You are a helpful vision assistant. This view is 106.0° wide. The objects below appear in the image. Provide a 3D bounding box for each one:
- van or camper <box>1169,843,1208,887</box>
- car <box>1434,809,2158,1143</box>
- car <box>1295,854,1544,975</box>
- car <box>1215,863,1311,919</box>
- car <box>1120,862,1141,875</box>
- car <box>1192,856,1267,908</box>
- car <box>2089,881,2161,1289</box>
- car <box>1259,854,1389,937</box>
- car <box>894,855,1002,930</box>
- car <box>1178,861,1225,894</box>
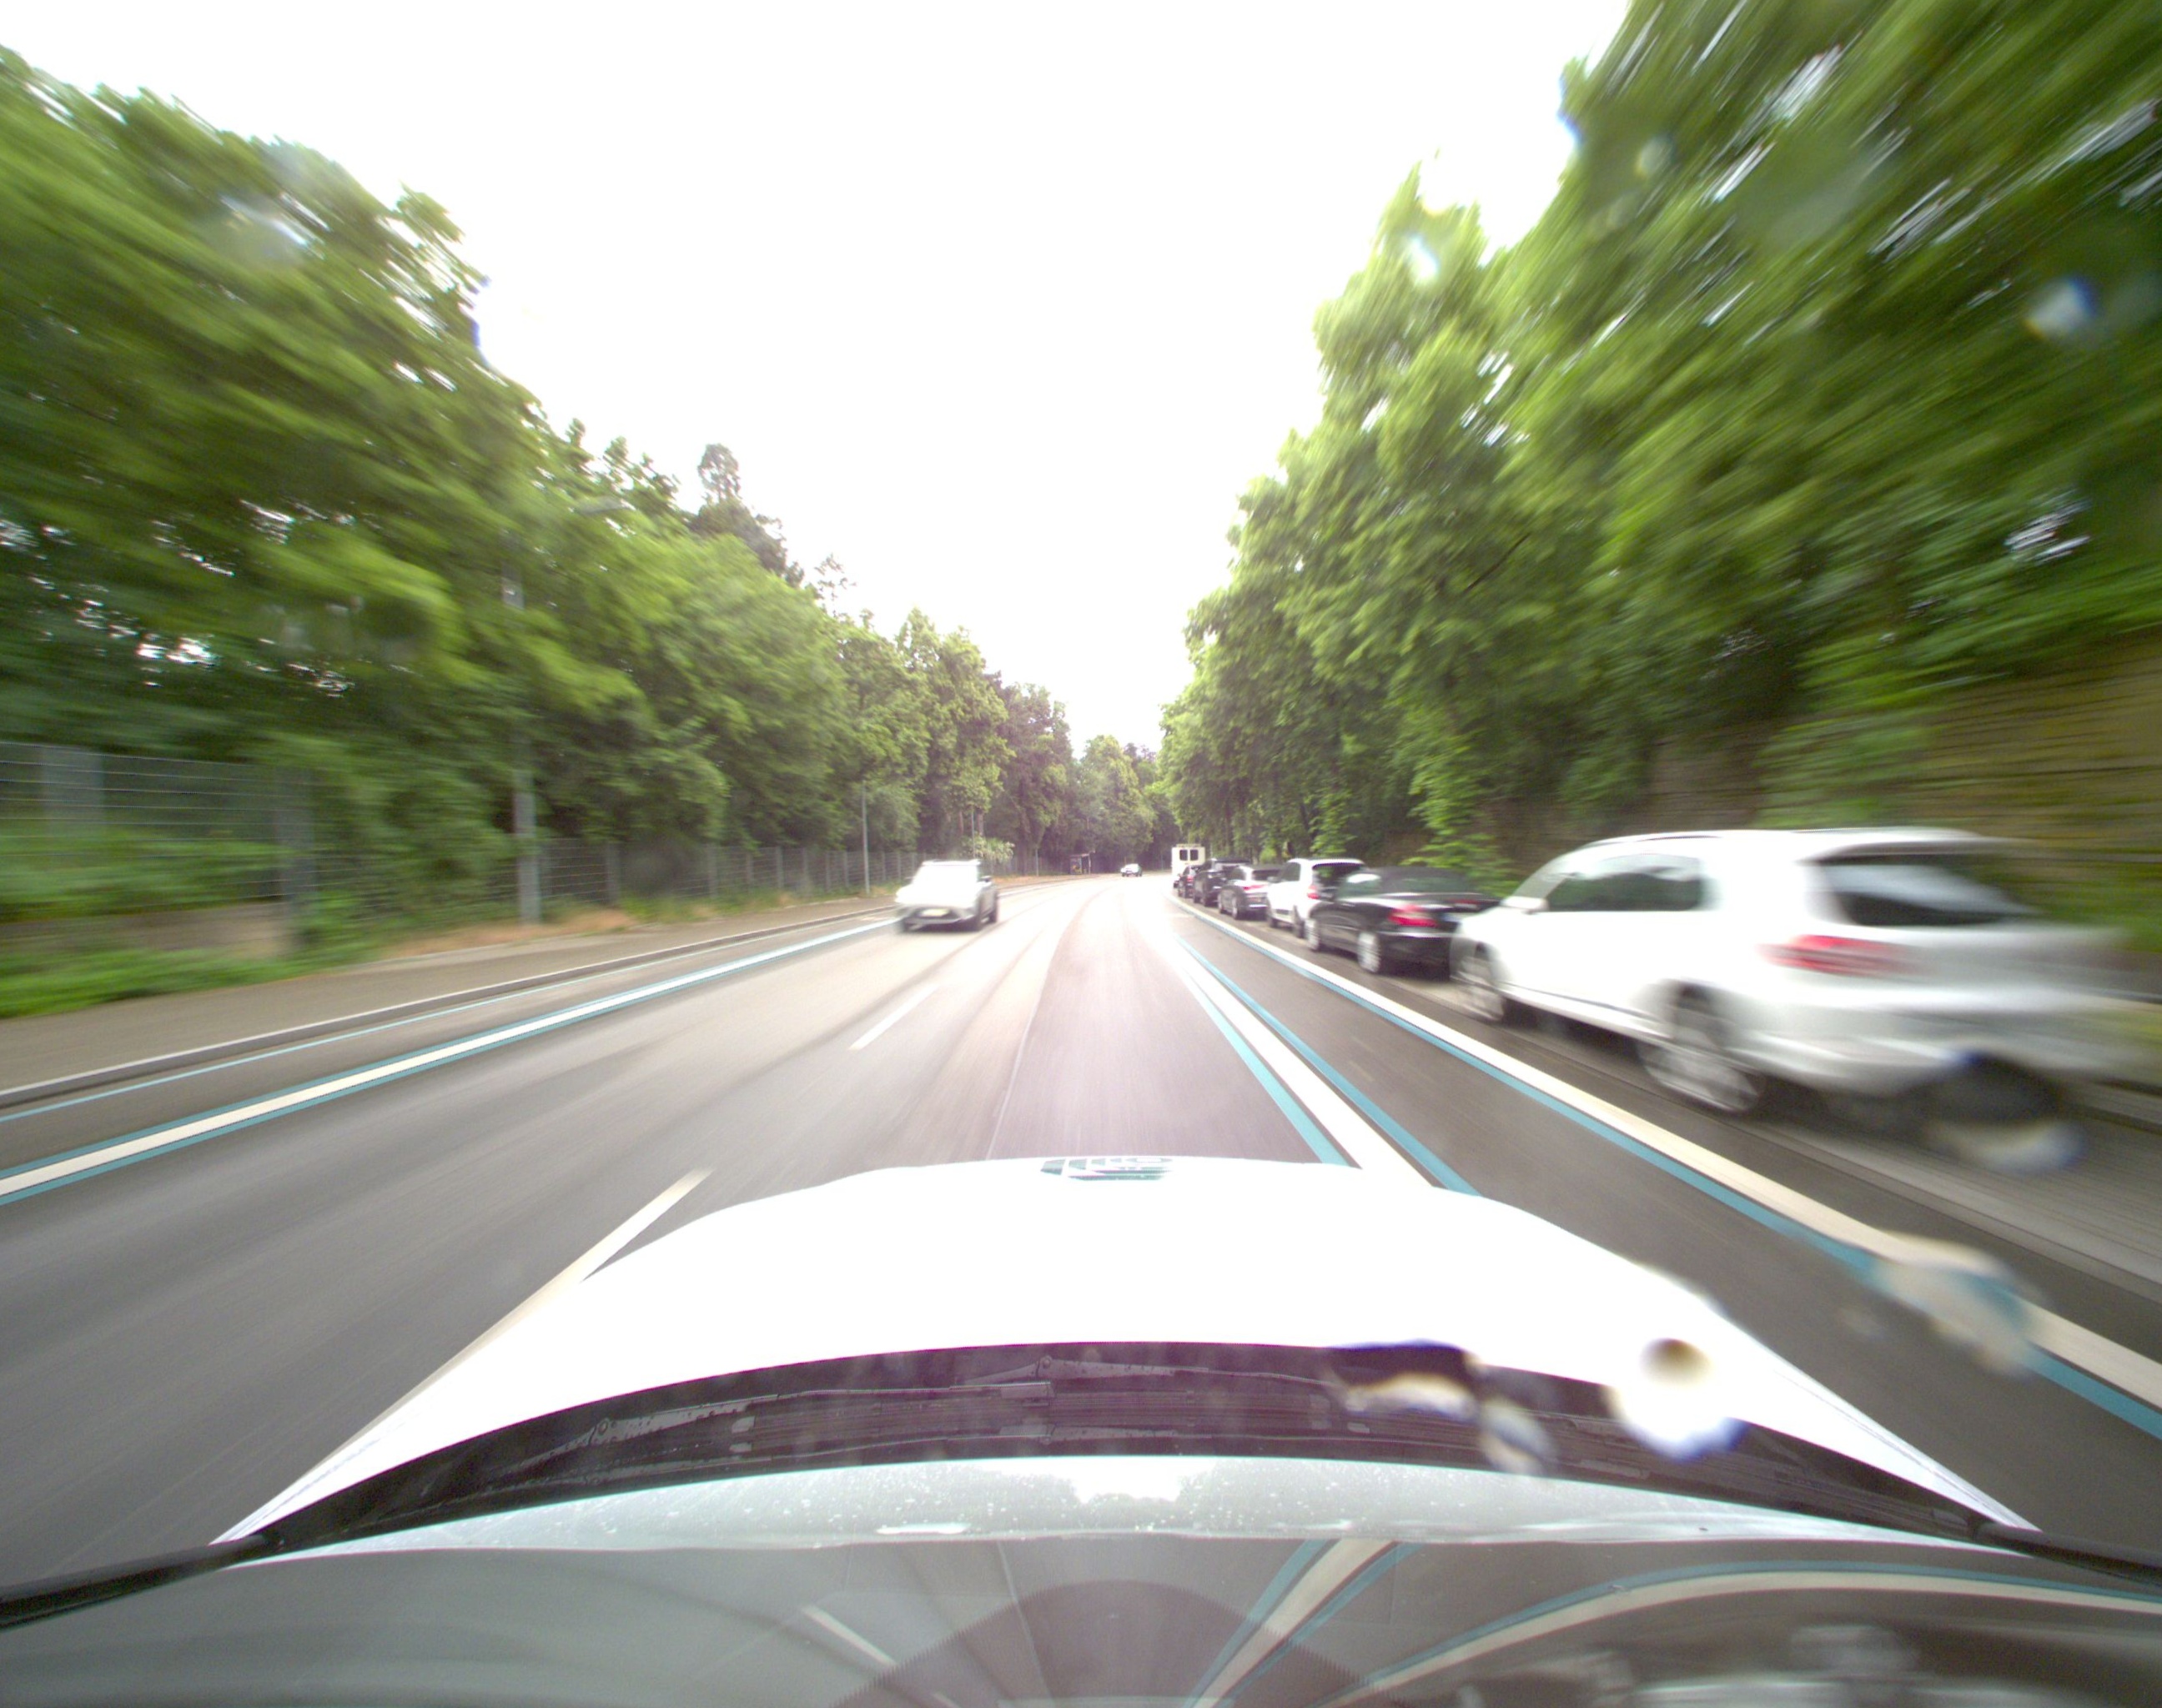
[{"bbox_3d":[7.015,0.683,52.963,2.304,2.665,6.396,-1,-1,8],"label":"van or camper"},{"bbox_3d":[4.482,0.624,6.179,1.708,1.619,4.259,-1,-1,-1],"label":"car"},{"bbox_3d":[4.549,0.786,11.795,1.712,1.376,4.557,-1,-2,0],"label":"car"},{"bbox_3d":[4.757,0.936,21.923,1.768,1.348,4.469,-1,-1,3],"label":"car"},{"bbox_3d":[5.682,1.630,93.785,1.748,1.437,4.164,-1,-1,12],"label":"car"},{"bbox_3d":[5.135,0.990,28.738,1.985,1.645,4.350,-1,-2,3],"label":"car"},{"bbox_3d":[4.521,0.739,0.746,1.667,1.393,4.449,-1,-1,0],"label":"car"},{"bbox_3d":[4.930,0.802,17.018,1.655,1.535,3.741,0,-1,1],"label":"car"},{"bbox_3d":[-3.077,0.868,19.610,1.789,1.577,4.103,-1,-1,1],"label":"car"},{"bbox_3d":[5.306,1.053,36.271,1.671,1.376,4.002,-1,-2,3],"label":"car"}]
